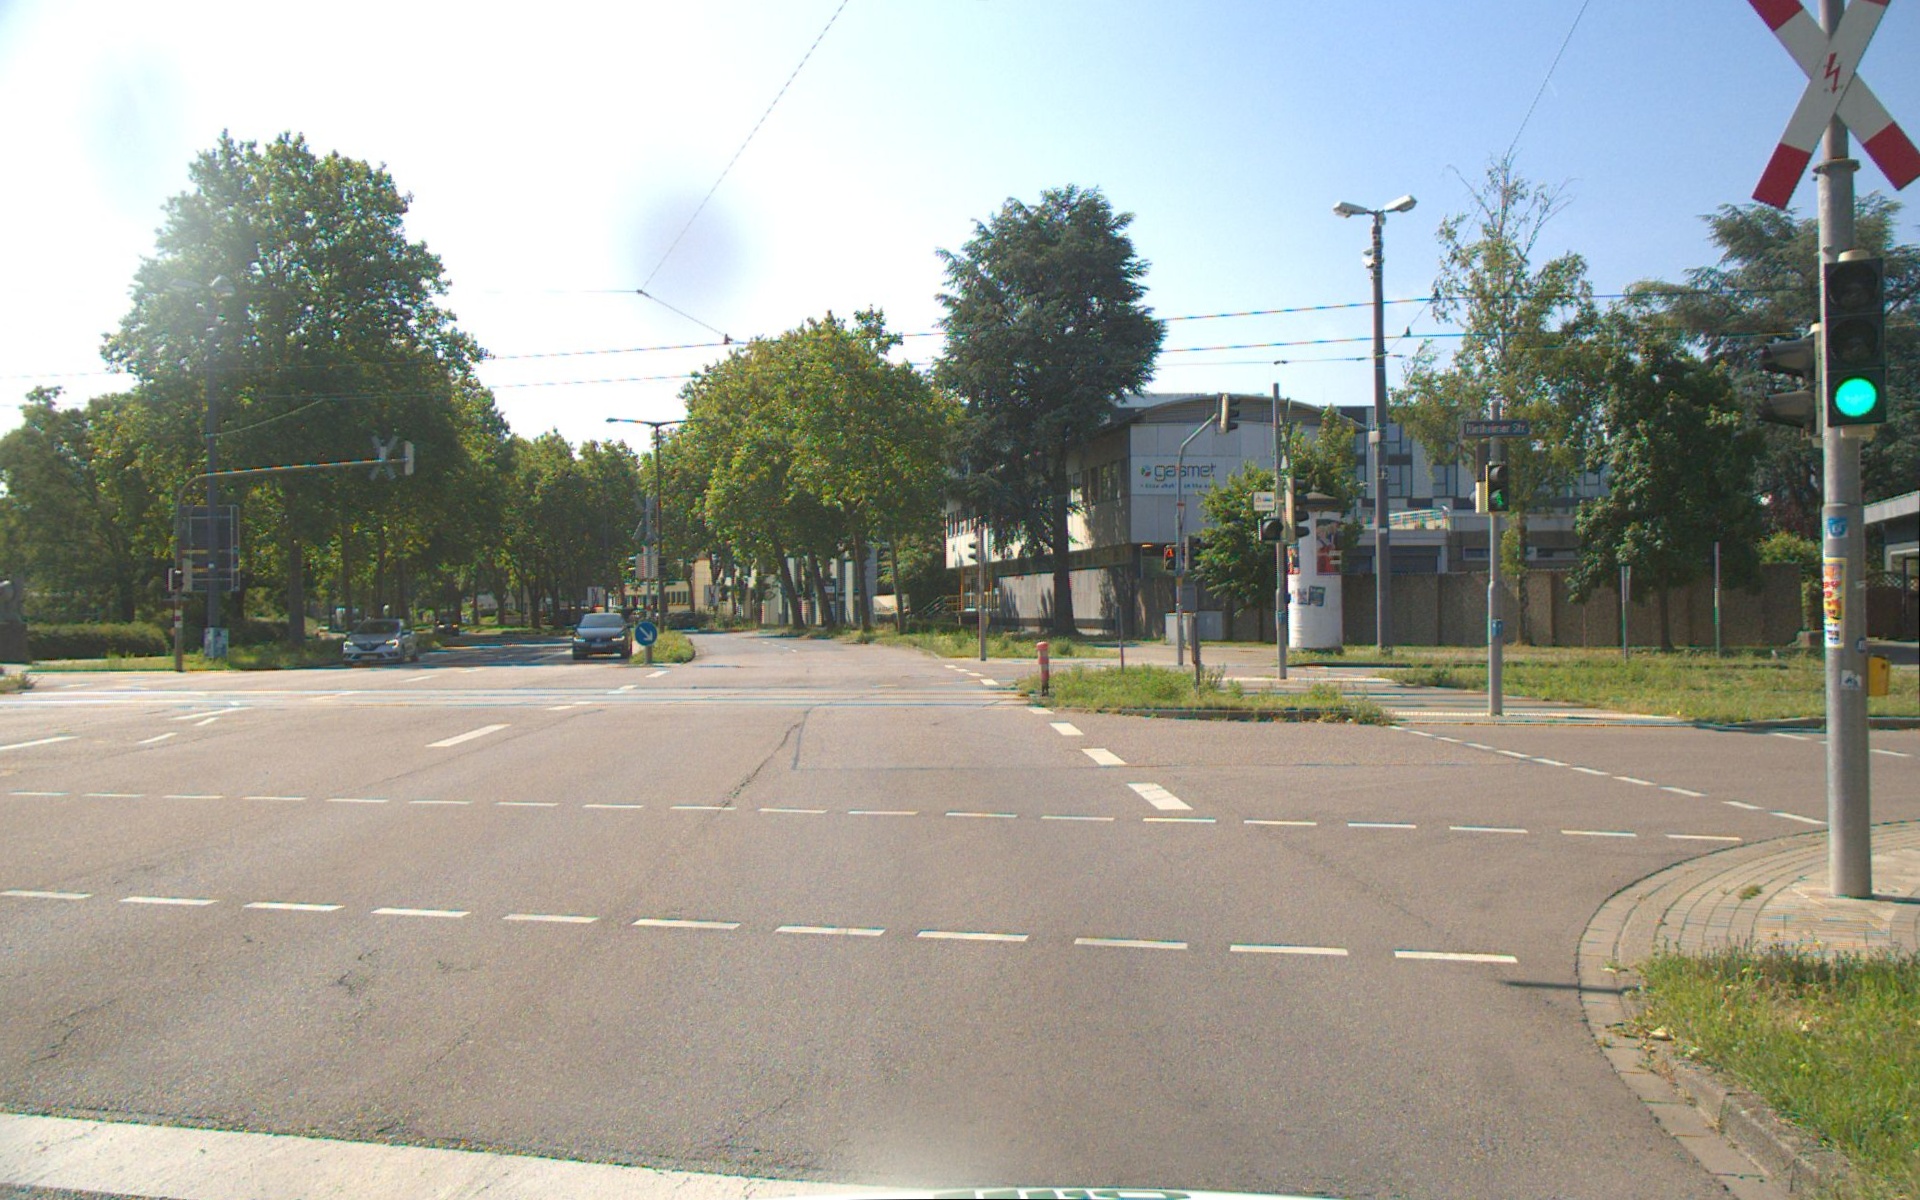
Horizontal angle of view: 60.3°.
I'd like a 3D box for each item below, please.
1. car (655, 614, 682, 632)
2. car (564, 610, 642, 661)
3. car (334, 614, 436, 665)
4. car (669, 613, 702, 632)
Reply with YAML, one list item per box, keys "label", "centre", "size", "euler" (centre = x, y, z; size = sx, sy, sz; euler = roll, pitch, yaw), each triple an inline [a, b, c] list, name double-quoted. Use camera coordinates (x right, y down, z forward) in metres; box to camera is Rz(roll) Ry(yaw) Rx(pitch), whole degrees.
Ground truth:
- label: "car"
  centre: [-26.121, 2.037, 148.193]
  size: [1.682, 1.514, 4.075]
  euler: [-1, 0, -21]
- label: "car"
  centre: [-11.483, 1.115, 53.419]
  size: [1.659, 1.534, 4.128]
  euler: [-1, 0, -1]
- label: "car"
  centre: [-18.522, 1.234, 53.492]
  size: [1.659, 1.534, 4.660]
  euler: [-1, 0, 0]
- label: "car"
  centre: [-23.788, 1.924, 143.167]
  size: [1.685, 1.513, 4.681]
  euler: [-2, 0, -25]
